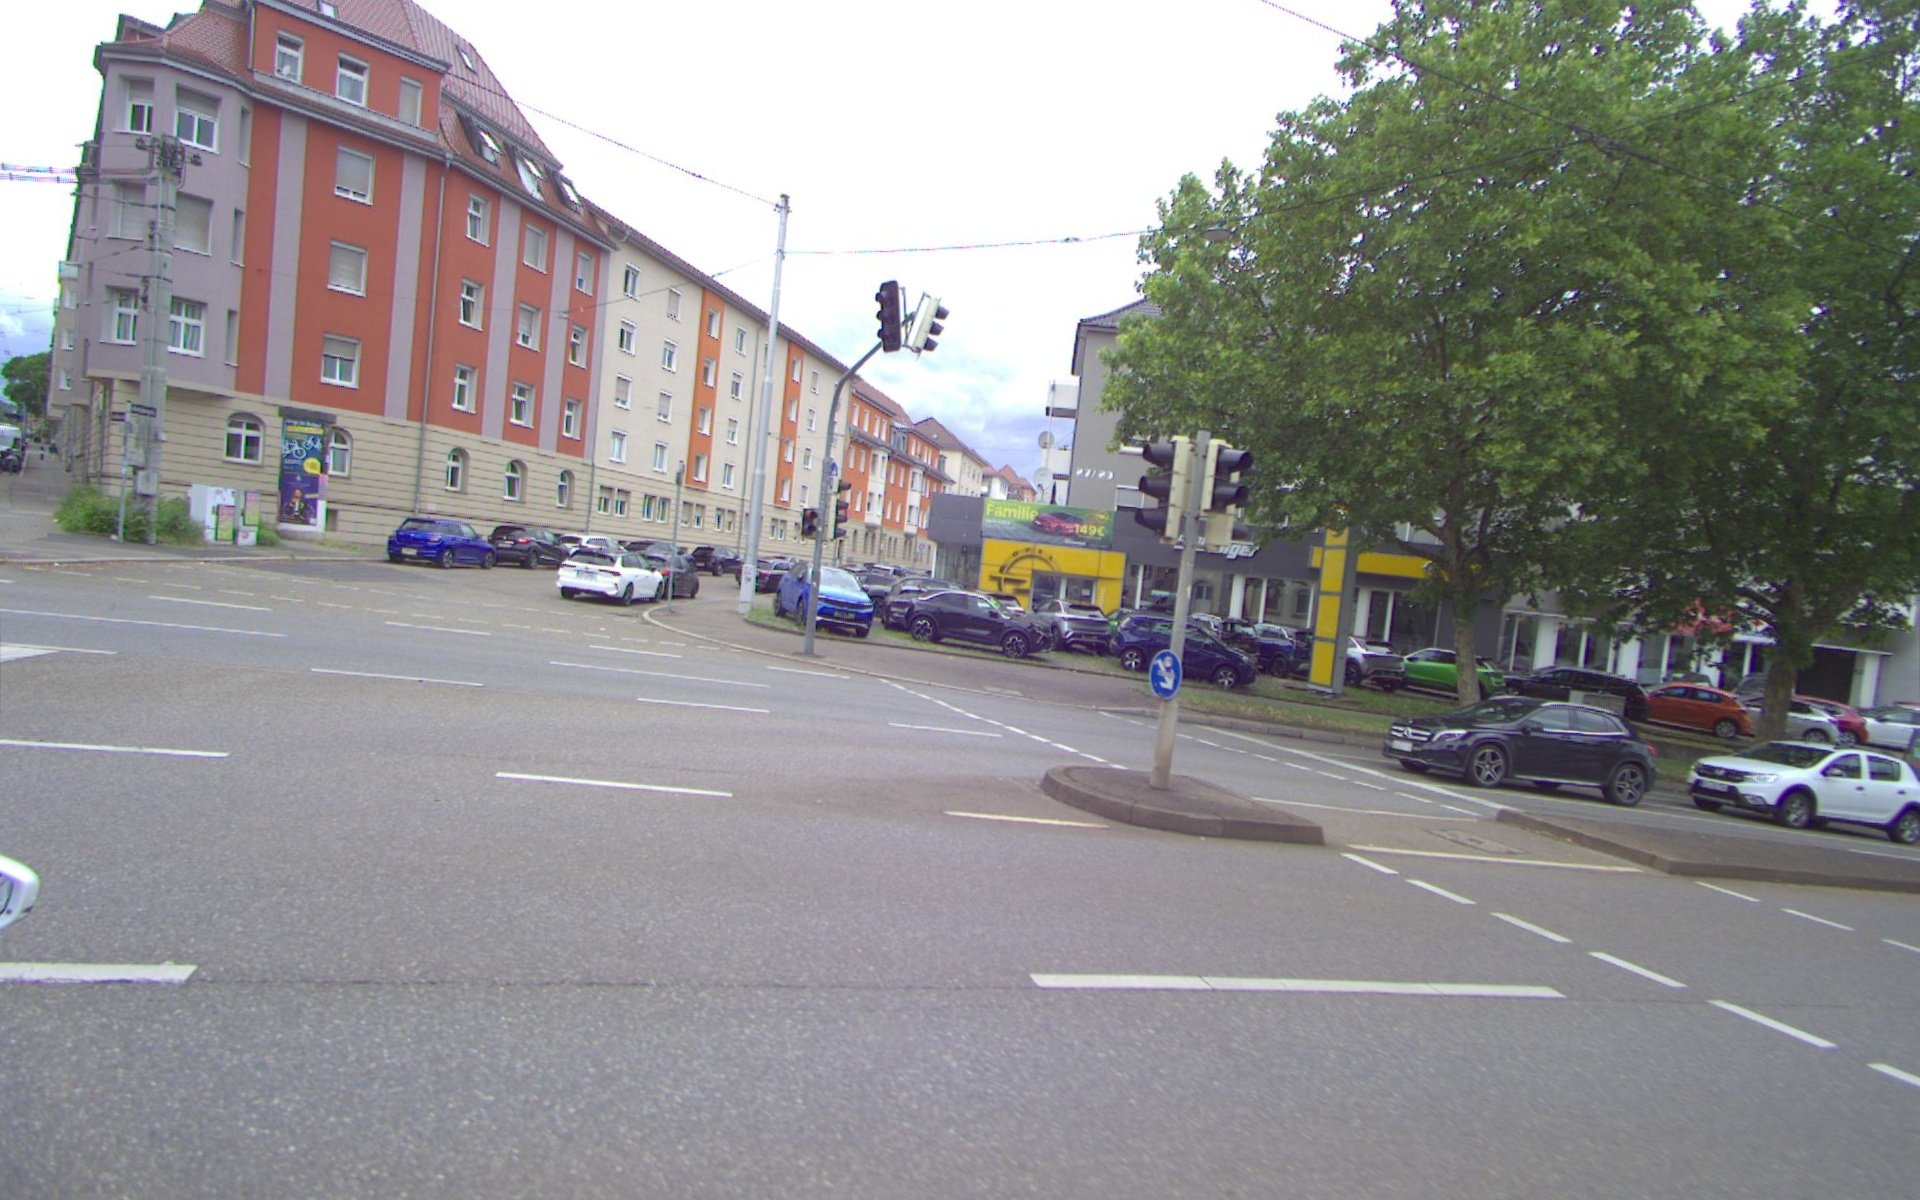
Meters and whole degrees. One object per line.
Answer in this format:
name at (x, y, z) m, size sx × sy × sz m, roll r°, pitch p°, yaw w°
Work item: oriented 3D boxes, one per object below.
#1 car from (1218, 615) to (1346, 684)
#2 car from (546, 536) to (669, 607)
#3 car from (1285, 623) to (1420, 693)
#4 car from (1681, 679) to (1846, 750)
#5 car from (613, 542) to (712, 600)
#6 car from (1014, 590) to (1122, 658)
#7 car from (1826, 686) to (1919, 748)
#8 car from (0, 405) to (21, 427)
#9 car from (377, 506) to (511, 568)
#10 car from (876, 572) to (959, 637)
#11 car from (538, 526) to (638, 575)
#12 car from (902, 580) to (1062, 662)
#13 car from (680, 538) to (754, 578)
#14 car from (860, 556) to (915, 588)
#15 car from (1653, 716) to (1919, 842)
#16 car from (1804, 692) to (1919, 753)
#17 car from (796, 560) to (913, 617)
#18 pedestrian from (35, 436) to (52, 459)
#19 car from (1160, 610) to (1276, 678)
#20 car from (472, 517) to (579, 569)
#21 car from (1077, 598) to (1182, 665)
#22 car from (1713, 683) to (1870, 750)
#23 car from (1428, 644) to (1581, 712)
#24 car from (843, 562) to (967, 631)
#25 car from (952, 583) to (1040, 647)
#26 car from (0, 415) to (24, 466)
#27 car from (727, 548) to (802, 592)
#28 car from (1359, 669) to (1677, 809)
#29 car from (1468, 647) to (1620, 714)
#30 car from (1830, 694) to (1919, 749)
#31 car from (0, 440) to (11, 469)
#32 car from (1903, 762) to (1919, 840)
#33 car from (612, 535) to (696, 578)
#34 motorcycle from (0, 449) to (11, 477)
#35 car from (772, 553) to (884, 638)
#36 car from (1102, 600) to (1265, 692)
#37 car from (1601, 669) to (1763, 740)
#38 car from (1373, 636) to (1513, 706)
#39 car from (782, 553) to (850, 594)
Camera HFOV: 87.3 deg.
car at (10.115, 1.514, 31.933) m, size 1.834 × 1.570 × 3.984 m, roll 7°, pitch 2°, yaw -15°
car at (-9.708, -0.816, 28.057) m, size 1.884 × 1.555 × 4.135 m, roll 8°, pitch 2°, yaw -2°
car at (12.379, 1.798, 32.011) m, size 1.835 × 1.570 × 3.984 m, roll 7°, pitch 2°, yaw -15°
car at (26.405, 3.721, 33.251) m, size 3.935 × 1.524 × 1.858 m, roll 9°, pitch 2°, yaw 34°
car at (-9.740, -0.975, 33.284) m, size 1.883 × 1.555 × 4.136 m, roll 8°, pitch 2°, yaw -1°
car at (3.283, 0.690, 31.456) m, size 1.835 × 1.570 × 3.983 m, roll 7°, pitch 2°, yaw -16°
car at (36.165, 4.600, 38.823) m, size 3.944 × 1.846 × 1.853 m, roll 10°, pitch 3°, yaw 43°
car at (-114.948, -22.216, 121.297) m, size 2.260 × 2.211 × 4.710 m, roll 7°, pitch 1°, yaw -43°
car at (-16.243, -1.931, 31.902) m, size 1.883 × 1.555 × 4.137 m, roll 9°, pitch 2°, yaw 1°
car at (-1.385, 0.088, 31.035) m, size 1.832 × 1.570 × 3.989 m, roll 8°, pitch 2°, yaw -11°
car at (-15.683, -2.042, 42.674) m, size 1.882 × 1.654 × 4.139 m, roll 9°, pitch 2°, yaw 12°
car at (0.640, 0.535, 27.330) m, size 3.925 × 1.496 × 1.829 m, roll 10°, pitch 3°, yaw 11°
car at (-12.856, -2.205, 53.515) m, size 1.882 × 1.654 × 4.139 m, roll 9°, pitch 2°, yaw 15°
car at (-4.295, -1.639, 60.401) m, size 1.882 × 1.555 × 4.139 m, roll 9°, pitch 2°, yaw 14°
car at (15.227, 3.245, 18.225) m, size 4.190 × 1.544 × 1.995 m, roll 8°, pitch 0°, yaw -13°
car at (32.083, 4.330, 35.068) m, size 3.553 × 1.524 × 1.789 m, roll 9°, pitch 2°, yaw 26°
car at (-4.053, -0.467, 38.943) m, size 4.040 × 1.555 × 1.793 m, roll 9°, pitch 3°, yaw 6°
pedestrian at (-74.481, -12.369, 81.732) m, size 0.672 × 1.651 × 0.671 m, roll 6°, pitch -1°, yaw -21°
car at (7.987, 1.323, 31.579) m, size 1.832 × 1.570 × 3.989 m, roll 8°, pitch 2°, yaw -11°
car at (-16.108, -2.068, 37.553) m, size 1.883 × 1.555 × 4.137 m, roll 9°, pitch 2°, yaw 2°
car at (5.264, 0.947, 31.829) m, size 1.832 × 1.570 × 3.989 m, roll 8°, pitch 2°, yaw -11°
car at (28.732, 3.981, 34.852) m, size 3.944 × 1.524 × 1.853 m, roll 10°, pitch 2°, yaw 43°
car at (17.703, 2.520, 32.817) m, size 3.944 × 1.524 × 1.746 m, roll 10°, pitch 3°, yaw 43°
car at (-1.957, -0.140, 36.243) m, size 4.170 × 1.804 × 1.710 m, roll 8°, pitch 3°, yaw -3°
car at (1.069, 0.429, 32.079) m, size 1.832 × 1.570 × 3.989 m, roll 8°, pitch 2°, yaw -11°
car at (-60.740, -10.129, 63.435) m, size 2.260 × 2.926 × 4.710 m, roll 7°, pitch 1°, yaw -43°
car at (-8.490, -1.299, 44.040) m, size 1.882 × 1.555 × 4.139 m, roll 9°, pitch 2°, yaw 7°
car at (9.089, 2.251, 16.528) m, size 4.190 × 1.544 × 1.995 m, roll 8°, pitch 0°, yaw -13°
car at (19.507, 2.667, 33.673) m, size 3.944 × 1.524 × 1.853 m, roll 10°, pitch 2°, yaw 43°
car at (34.559, 4.581, 36.582) m, size 3.930 × 1.524 × 1.860 m, roll 9°, pitch 2°, yaw 28°
car at (-57.092, -8.679, 59.065) m, size 1.834 × 1.588 × 3.772 m, roll 7°, pitch 1°, yaw -43°
car at (21.089, 4.274, 19.461) m, size 4.340 × 1.483 × 1.995 m, roll 8°, pitch 0°, yaw -13°
car at (-14.516, -2.043, 47.941) m, size 1.882 × 1.654 × 4.139 m, roll 9°, pitch 2°, yaw 12°
motorcycle at (-48.572, -6.946, 49.752) m, size 0.689 × 1.343 × 2.177 m, roll 9°, pitch 1°, yaw 36°
car at (-3.535, -0.179, 26.227) m, size 1.805 × 1.597 × 4.234 m, roll 8°, pitch 3°, yaw -21°
car at (6.206, 1.245, 28.213) m, size 4.091 × 1.631 × 1.825 m, roll 10°, pitch 8°, yaw 10°
car at (23.317, 3.327, 32.694) m, size 3.933 × 1.524 × 1.859 m, roll 9°, pitch 2°, yaw 31°
car at (15.281, 2.222, 31.897) m, size 3.558 × 1.573 × 1.614 m, roll 9°, pitch 3°, yaw 40°
car at (-7.066, -1.290, 49.819) m, size 1.882 × 1.667 × 4.139 m, roll 9°, pitch 2°, yaw 11°
